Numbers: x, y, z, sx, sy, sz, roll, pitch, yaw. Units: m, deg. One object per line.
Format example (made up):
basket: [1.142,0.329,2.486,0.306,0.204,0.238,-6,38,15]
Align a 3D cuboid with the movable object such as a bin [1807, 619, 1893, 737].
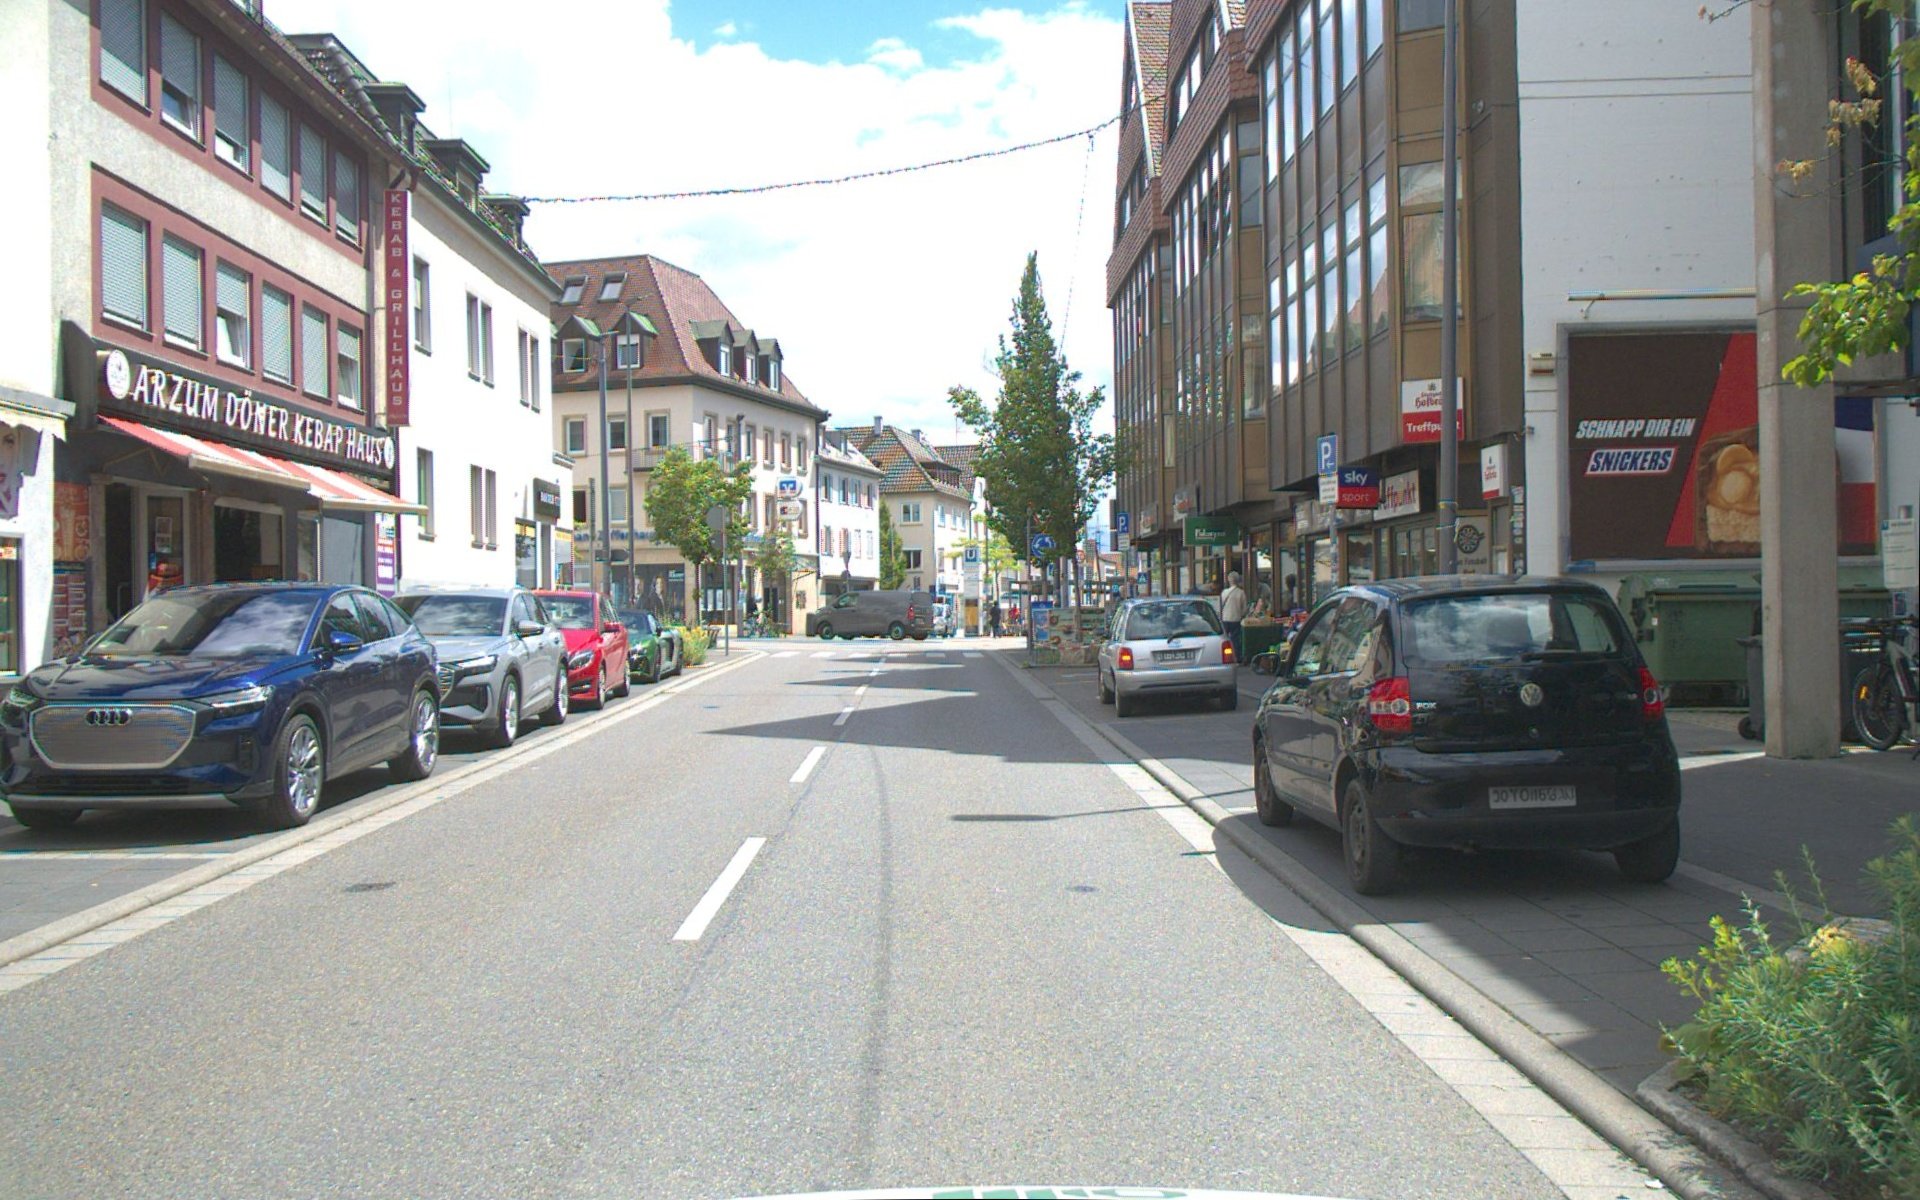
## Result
movable object such as a bin: [7.902,0.681,14.693,0.477,1.016,0.554,1,-1,1]

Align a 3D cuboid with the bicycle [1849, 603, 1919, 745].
bicycle: [7.924,0.597,13.626,0.416,1.139,1.502,1,-1,1]

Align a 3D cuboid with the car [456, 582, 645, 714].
car: [-5.593,0.597,23.079,1.763,1.632,4.216,-1,0,-3]

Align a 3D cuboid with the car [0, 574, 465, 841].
car: [-5.206,0.650,12.334,1.763,1.626,4.388,0,0,-1]

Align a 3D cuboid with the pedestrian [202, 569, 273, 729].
pedestrian: [-7.683,0.514,17.597,0.491,1.677,0.574,1,-1,-3]

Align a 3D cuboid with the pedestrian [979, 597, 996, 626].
pedestrian: [1.514,0.616,92.020,0.736,1.607,0.724,0,0,-23]

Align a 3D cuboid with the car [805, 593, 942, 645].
car: [-3.331,0.709,63.225,4.888,1.881,2.044,0,-1,29]

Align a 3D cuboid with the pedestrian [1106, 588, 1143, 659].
pedestrian: [3.879,0.545,39.038,0.768,1.644,0.800,1,-1,-1]

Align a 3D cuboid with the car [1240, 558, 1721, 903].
car: [2.751,0.601,9.623,1.576,1.559,3.795,-2,0,0]

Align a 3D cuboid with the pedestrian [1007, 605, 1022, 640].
pedestrian: [2.851,1.169,86.874,0.712,1.794,0.749,0,0,9]

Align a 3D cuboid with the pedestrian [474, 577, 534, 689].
pedestrian: [-6.947,0.503,25.234,0.672,1.677,0.779,1,-1,1]

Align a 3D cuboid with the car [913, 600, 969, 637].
car: [-0.909,0.906,80.944,1.951,1.719,4.003,0,-1,11]

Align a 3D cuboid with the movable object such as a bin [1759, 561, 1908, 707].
movable object such as a bin: [9.647,0.367,18.302,1.118,1.554,1.032,1,-1,1]

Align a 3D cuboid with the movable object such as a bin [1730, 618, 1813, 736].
movable object such as a bin: [7.176,0.670,14.638,0.477,1.016,0.554,1,-1,1]

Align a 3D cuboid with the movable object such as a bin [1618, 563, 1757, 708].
movable object such as a bin: [8.087,0.386,18.433,1.118,1.554,1.032,1,-1,1]

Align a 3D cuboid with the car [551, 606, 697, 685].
car: [-5.957,0.773,29.828,1.782,1.245,4.522,1,0,-1]

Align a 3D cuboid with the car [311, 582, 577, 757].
car: [-5.397,0.649,17.878,1.764,1.632,4.347,-1,0,-4]

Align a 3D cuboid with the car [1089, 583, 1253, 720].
car: [2.666,0.604,21.617,1.577,1.520,3.795,-4,0,0]

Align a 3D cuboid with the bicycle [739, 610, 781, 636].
bicycle: [-8.203,0.930,67.967,1.597,1.049,0.568,0,-1,14]

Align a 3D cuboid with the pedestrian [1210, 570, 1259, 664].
pedestrian: [5.138,0.324,30.965,0.647,1.736,0.642,1,-1,-23]

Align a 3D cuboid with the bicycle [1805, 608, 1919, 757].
bicycle: [7.454,0.633,13.422,0.416,1.100,1.502,-2,1,1]

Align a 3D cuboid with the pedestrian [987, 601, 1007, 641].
pedestrian: [1.617,0.899,71.448,0.851,1.738,0.531,1,-1,2]

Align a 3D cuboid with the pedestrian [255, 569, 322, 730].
pedestrian: [-7.135,0.523,17.577,0.503,1.677,0.471,1,-1,-3]

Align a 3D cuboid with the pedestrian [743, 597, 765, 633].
pedestrian: [-9.031,0.649,72.637,0.613,1.559,0.858,0,-1,23]

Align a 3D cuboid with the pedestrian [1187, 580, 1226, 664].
pedestrian: [5.483,0.486,36.807,0.722,1.846,0.711,1,-1,-1]
